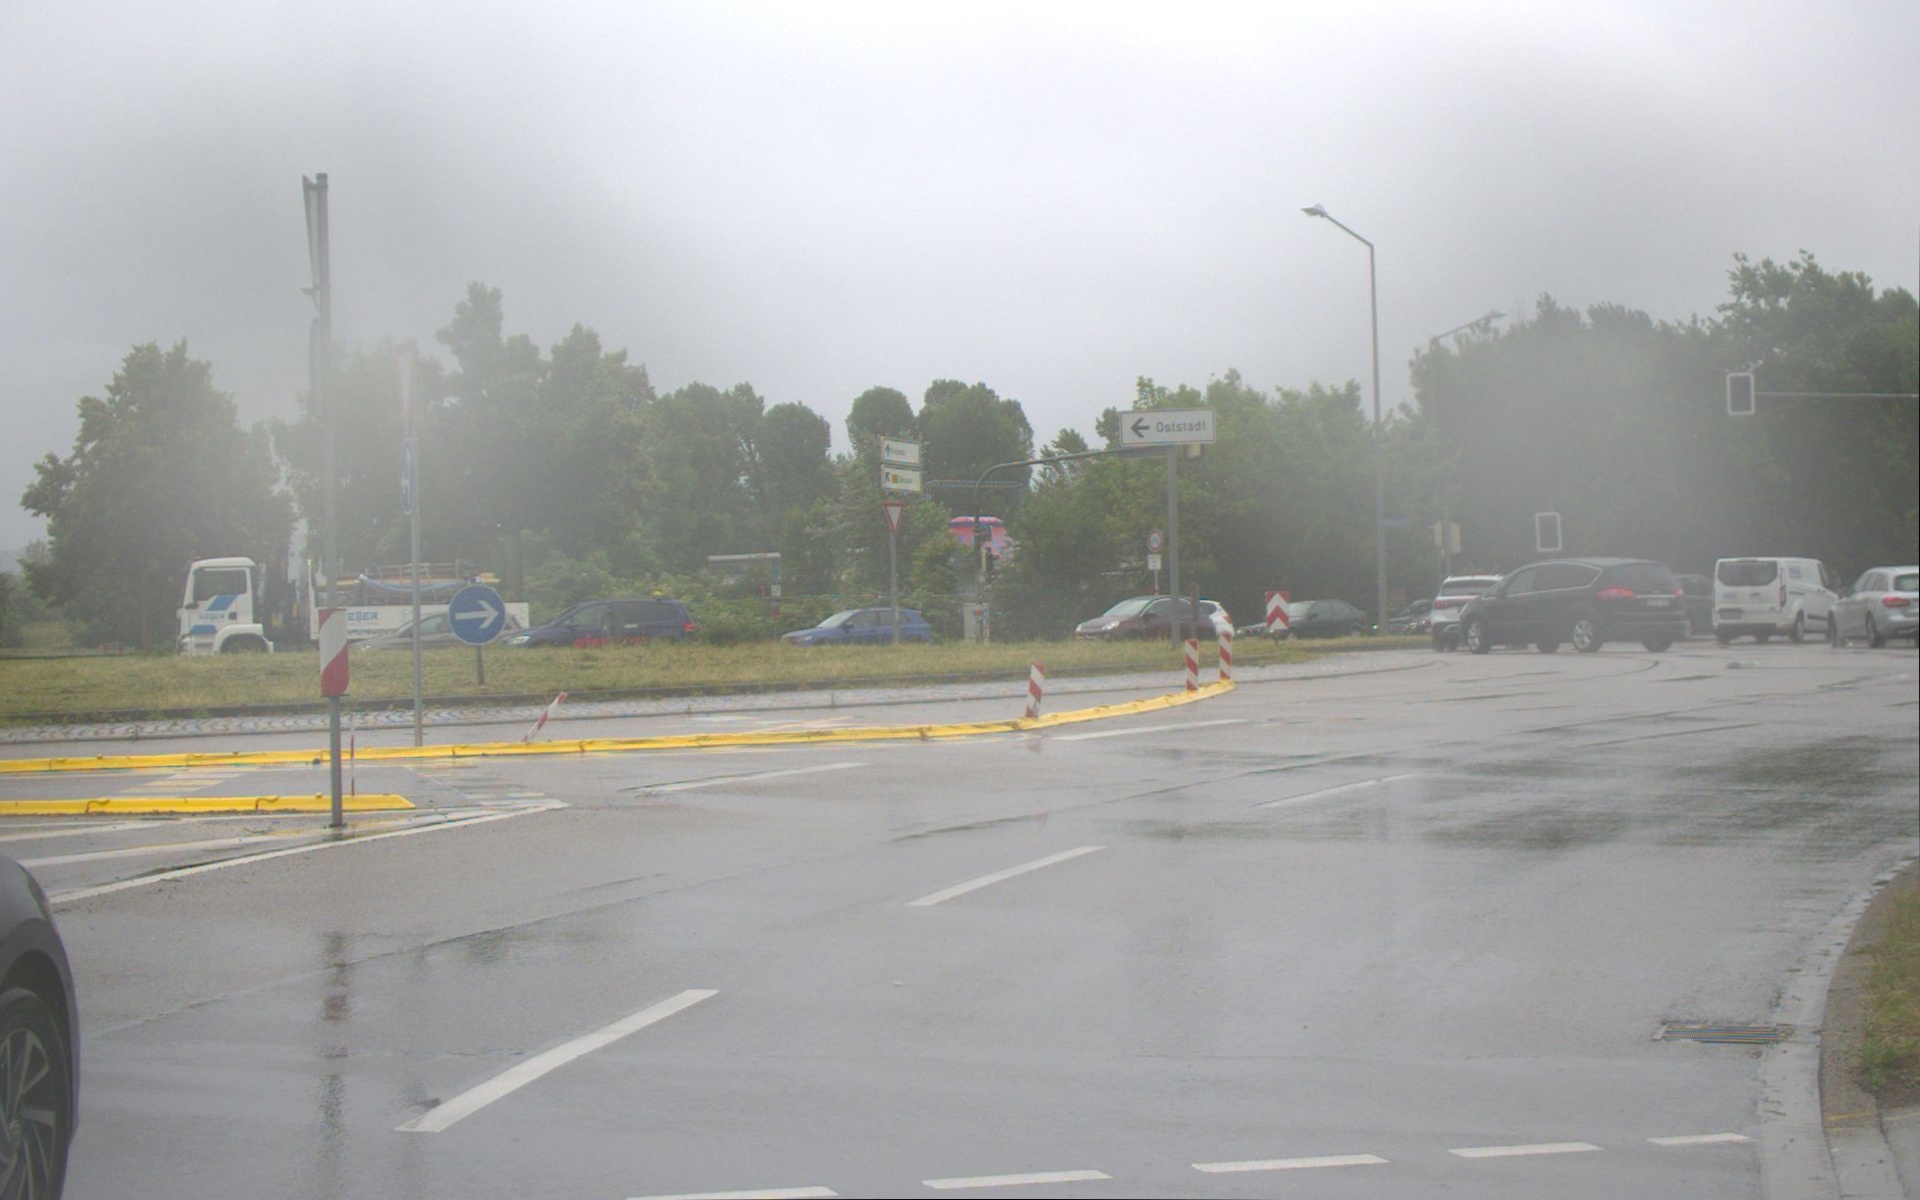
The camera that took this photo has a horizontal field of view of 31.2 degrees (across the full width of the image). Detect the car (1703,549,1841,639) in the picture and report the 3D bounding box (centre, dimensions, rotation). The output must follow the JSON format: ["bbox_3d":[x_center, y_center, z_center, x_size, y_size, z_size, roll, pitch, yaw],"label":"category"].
[{"bbox_3d":[19.040,-0.126,80.486,1.787,2.029,3.992,1,0,35],"label":"car"}]

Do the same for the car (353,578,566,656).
[{"bbox_3d":[-11.726,0.399,80.445,4.849,1.738,1.778,1,0,-10],"label":"car"}]

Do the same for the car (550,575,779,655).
[{"bbox_3d":[-6.655,0.353,77.596,4.850,1.738,1.778,1,0,-30],"label":"car"}]

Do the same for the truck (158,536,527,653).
[{"bbox_3d":[-15.143,-0.123,84.336,8.766,2.702,2.001,1,0,-14],"label":"truck"}]

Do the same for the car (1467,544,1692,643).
[{"bbox_3d":[10.705,-0.110,59.650,1.783,1.642,4.001,1,0,-27],"label":"car"}]

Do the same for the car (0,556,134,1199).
[{"bbox_3d":[-2.873,0.651,5.862,1.783,1.512,4.332,1,0,1],"label":"car"}]

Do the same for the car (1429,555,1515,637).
[{"bbox_3d":[10.734,-0.071,72.280,1.681,1.642,3.946,1,0,7],"label":"car"}]

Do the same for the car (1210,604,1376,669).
[{"bbox_3d":[8.848,0.967,91.312,3.986,1.642,1.789,1,0,-18],"label":"car"}]

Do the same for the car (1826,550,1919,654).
[{"bbox_3d":[17.112,0.013,62.283,1.783,1.804,4.837,-1,0,3],"label":"car"}]

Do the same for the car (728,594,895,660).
[{"bbox_3d":[-3.848,0.703,88.864,3.986,1.642,1.789,1,0,-15],"label":"car"}]
